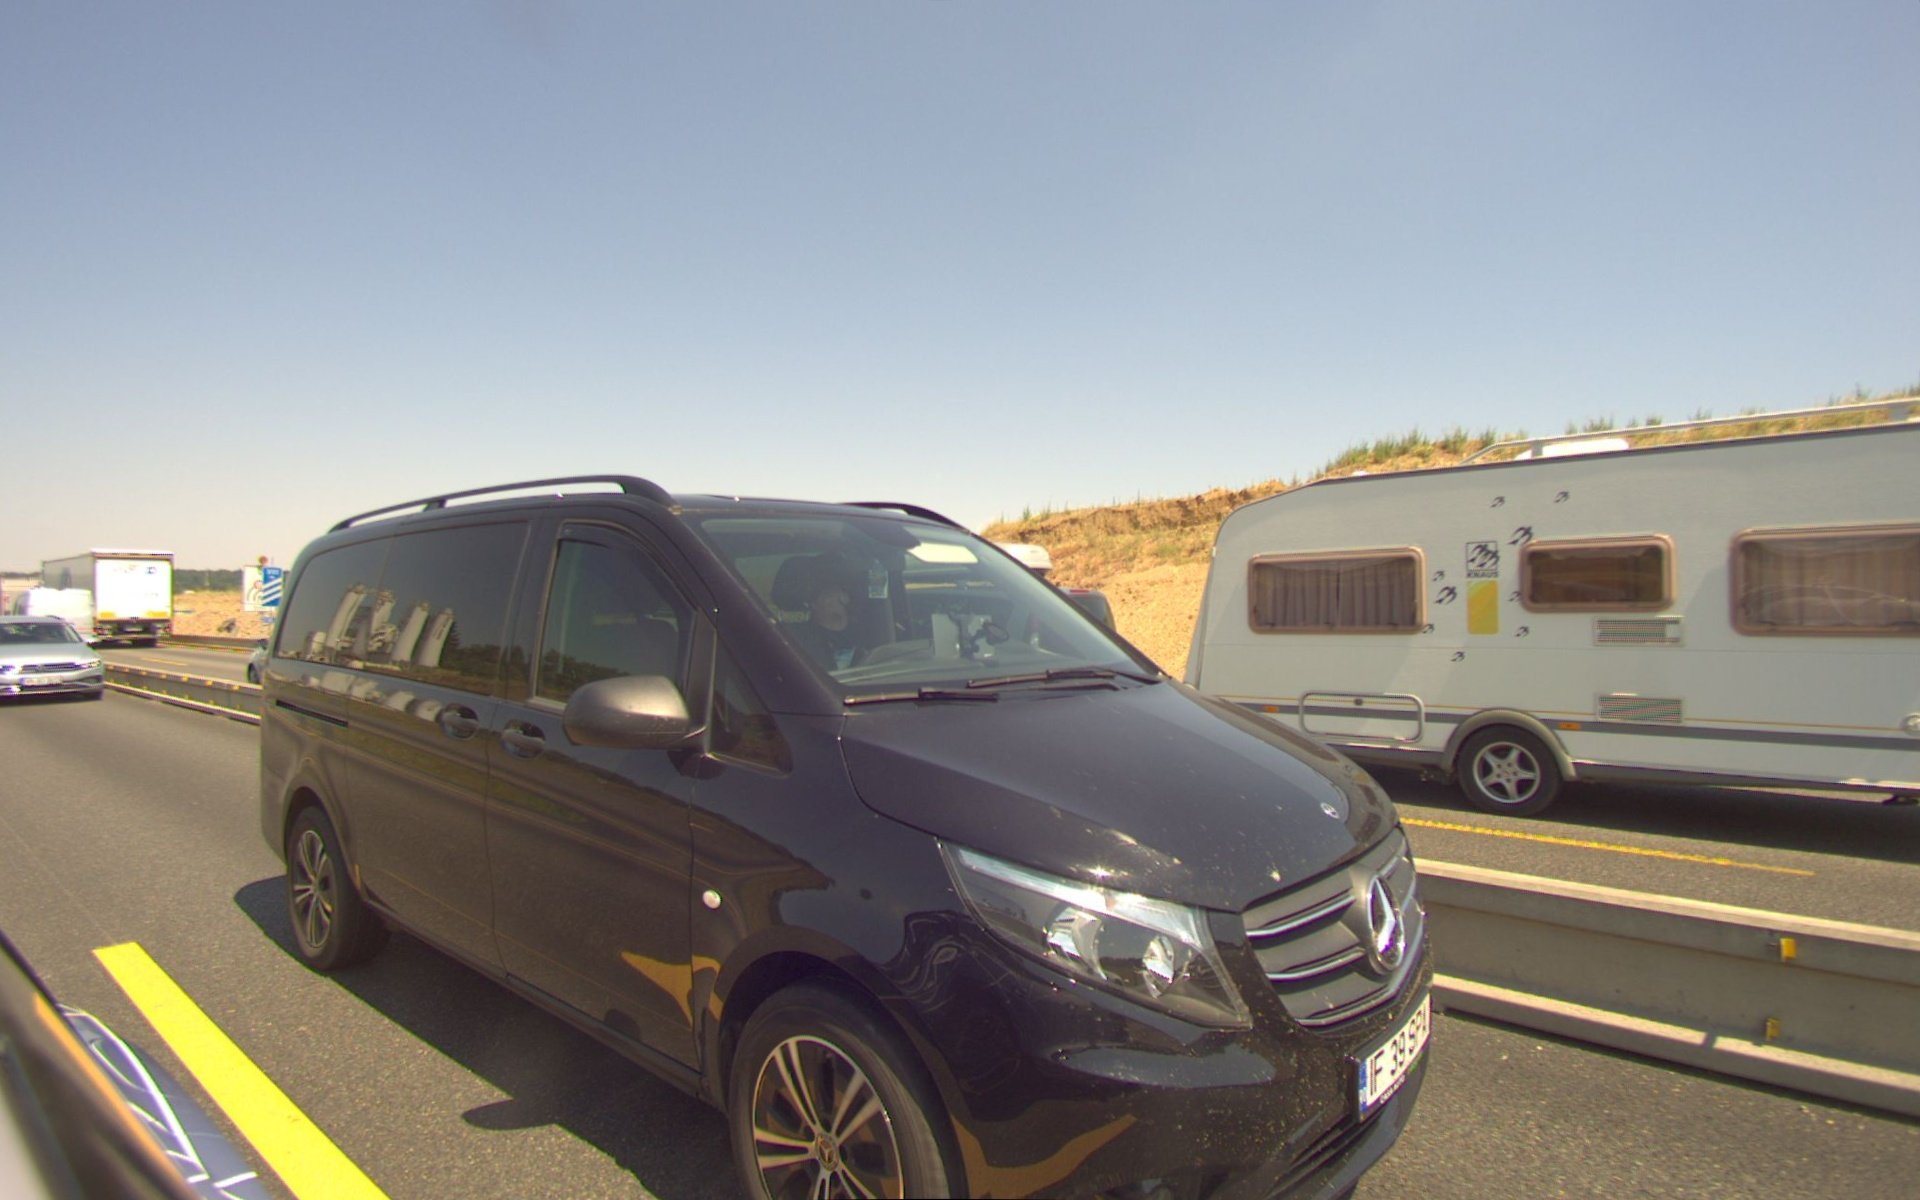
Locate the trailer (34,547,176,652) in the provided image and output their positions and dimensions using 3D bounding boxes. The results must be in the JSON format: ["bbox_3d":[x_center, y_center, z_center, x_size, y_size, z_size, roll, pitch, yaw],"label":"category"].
[{"bbox_3d":[-38.629,0.041,45.432,13.646,4.125,2.824,0,-1,41],"label":"trailer"}]

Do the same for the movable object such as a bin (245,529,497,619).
[{"bbox_3d":[-48.463,-2.058,84.500,3.386,6.823,18.033,0,0,41],"label":"movable object such as a bin"}]

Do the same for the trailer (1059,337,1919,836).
[{"bbox_3d":[4.185,-0.016,7.911,6.752,2.707,2.287,-1,-2,41],"label":"trailer"}]

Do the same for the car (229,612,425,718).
[{"bbox_3d":[-10.624,0.981,16.882,3.974,1.513,1.671,0,0,41],"label":"car"}]

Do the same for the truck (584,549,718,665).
[{"bbox_3d":[-8.924,0.168,28.881,2.543,2.986,5.078,-1,0,-30],"label":"truck"}]

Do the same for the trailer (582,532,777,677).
[{"bbox_3d":[-8.816,0.118,33.138,2.770,4.129,8.342,-1,0,11],"label":"trailer"}]

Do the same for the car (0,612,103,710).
[{"bbox_3d":[-16.514,1.015,17.651,4.098,1.519,1.781,-2,0,41],"label":"car"}]

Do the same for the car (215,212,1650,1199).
[{"bbox_3d":[-0.892,0.500,3.725,5.476,1.865,1.854,-1,0,41],"label":"car"}]

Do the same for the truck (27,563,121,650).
[{"bbox_3d":[-43.613,0.324,49.777,4.857,4.049,2.819,0,-1,41],"label":"truck"}]

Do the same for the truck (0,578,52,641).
[{"bbox_3d":[-60.302,0.567,64.439,9.478,3.744,2.617,0,0,41],"label":"truck"}]

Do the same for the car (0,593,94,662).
[{"bbox_3d":[-33.252,0.929,36.703,5.340,2.309,1.973,0,0,41],"label":"car"}]

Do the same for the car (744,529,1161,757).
[{"bbox_3d":[-0.260,0.438,12.001,4.862,2.171,1.973,0,-2,41],"label":"car"}]
